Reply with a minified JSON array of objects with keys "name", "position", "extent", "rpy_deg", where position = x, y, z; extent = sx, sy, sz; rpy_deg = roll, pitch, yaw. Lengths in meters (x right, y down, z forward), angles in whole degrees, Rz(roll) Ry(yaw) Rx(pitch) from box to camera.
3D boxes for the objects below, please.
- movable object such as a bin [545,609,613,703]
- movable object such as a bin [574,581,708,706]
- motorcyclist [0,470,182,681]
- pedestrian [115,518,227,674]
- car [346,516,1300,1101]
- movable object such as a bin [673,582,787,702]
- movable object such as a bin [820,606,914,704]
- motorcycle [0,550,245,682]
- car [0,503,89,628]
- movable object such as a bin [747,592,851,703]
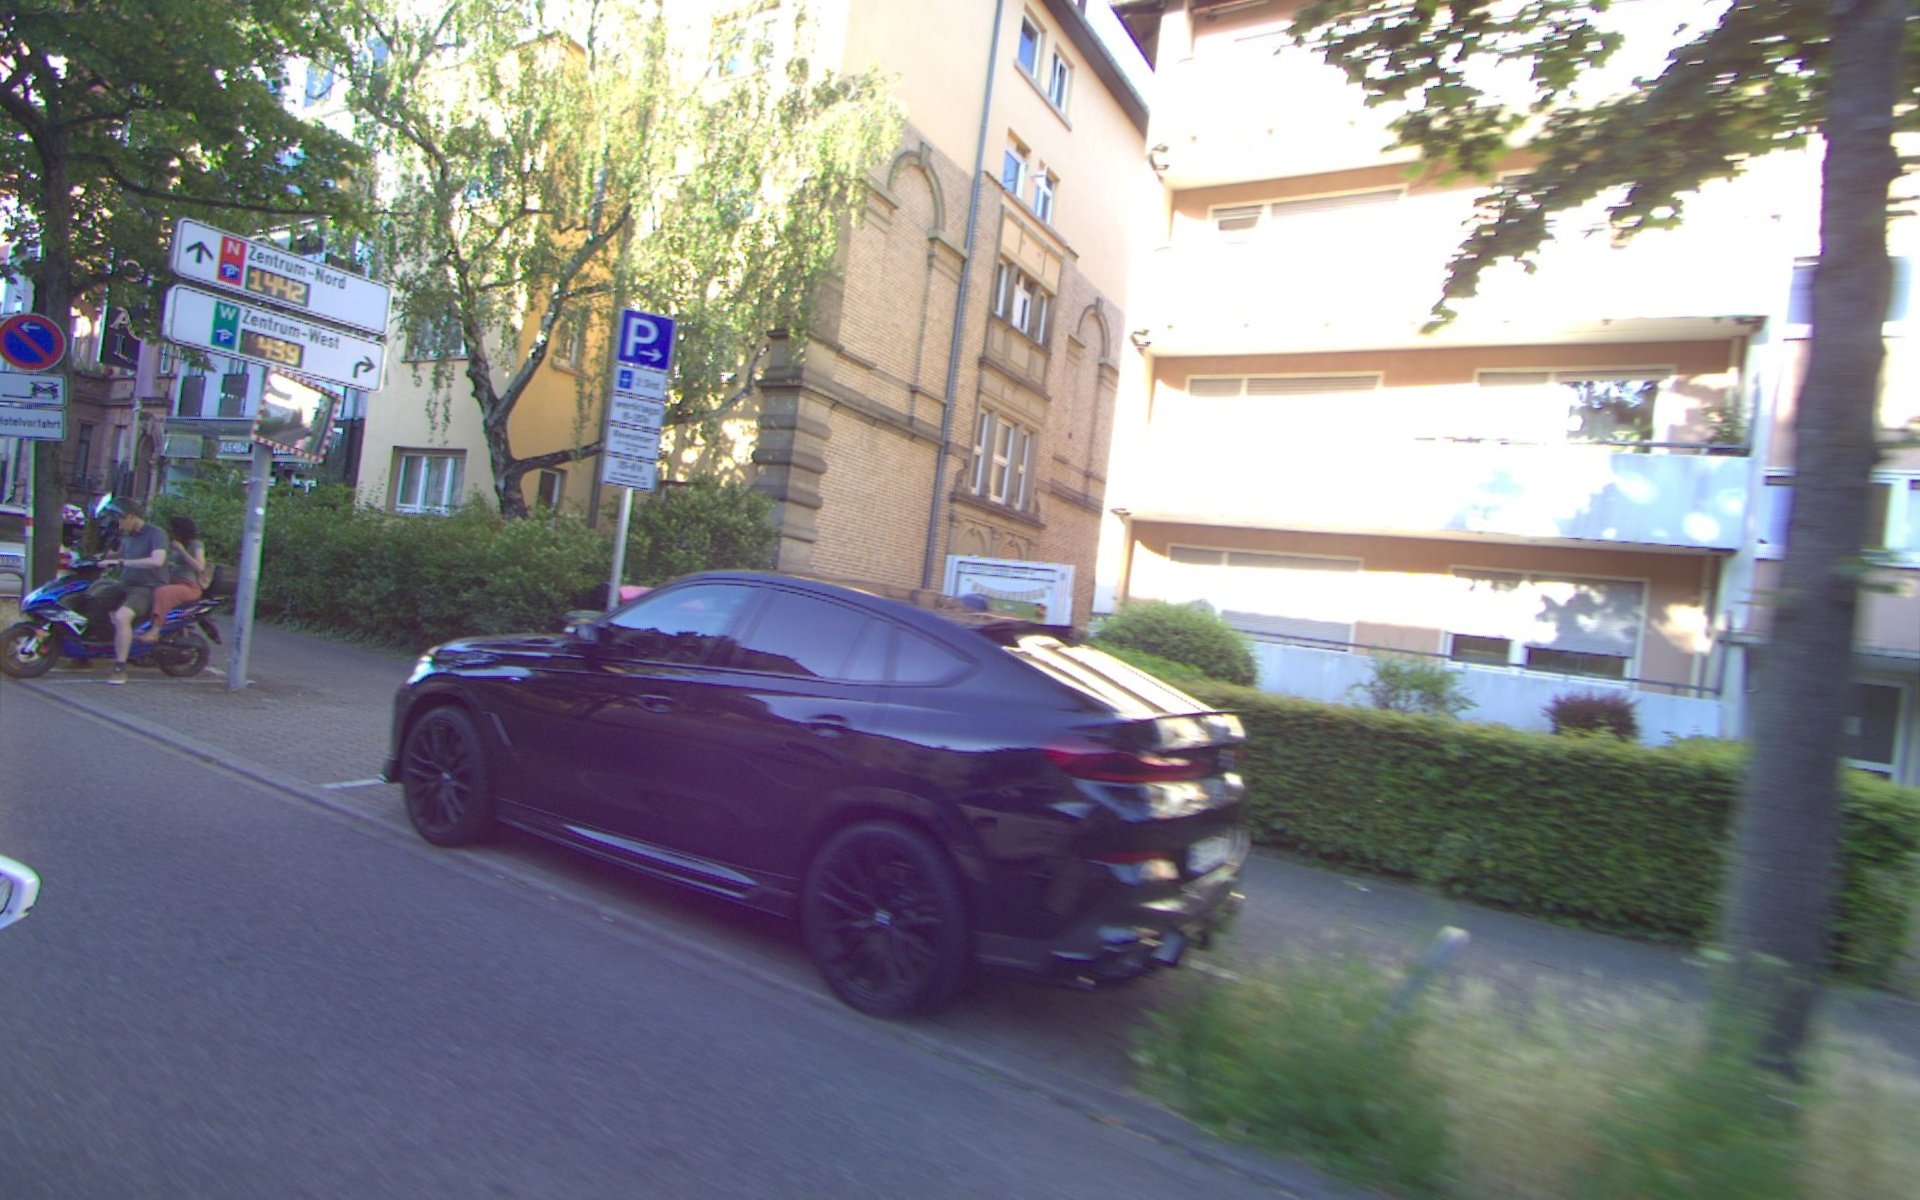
[{"name":"movable object such as a bin","position":[-4.705,0.690,12.430],"extent":[0.541,1.071,0.493],"rpy_deg":[7,-1,44]},{"name":"movable object such as a bin","position":[-4.227,0.580,13.359],"extent":[1.249,1.458,0.982],"rpy_deg":[8,-1,-44]},{"name":"motorcyclist","position":[-8.139,-0.216,9.405],"extent":[1.068,1.799,0.739],"rpy_deg":[7,-1,20]},{"name":"pedestrian","position":[-7.837,-0.030,10.000],"extent":[0.691,1.447,0.440],"rpy_deg":[7,-1,20]},{"name":"car","position":[-0.907,0.672,5.365],"extent":[4.716,1.674,1.952],"rpy_deg":[7,-1,31]},{"name":"movable object such as a bin","position":[-3.352,0.624,14.750],"extent":[0.976,1.574,1.159],"rpy_deg":[7,-1,22]},{"name":"movable object such as a bin","position":[-1.588,0.928,17.074],"extent":[1.130,1.458,0.987],"rpy_deg":[8,-1,-30]},{"name":"motorcycle","position":[-8.152,0.182,9.617],"extent":[0.805,1.083,1.933],"rpy_deg":[7,-2,20]},{"name":"car","position":[-14.223,-0.678,14.030],"extent":[4.756,1.531,1.857],"rpy_deg":[7,0,34]},{"name":"movable object such as a bin","position":[-2.511,0.751,15.806],"extent":[0.976,1.574,1.159],"rpy_deg":[7,-1,22]}]
